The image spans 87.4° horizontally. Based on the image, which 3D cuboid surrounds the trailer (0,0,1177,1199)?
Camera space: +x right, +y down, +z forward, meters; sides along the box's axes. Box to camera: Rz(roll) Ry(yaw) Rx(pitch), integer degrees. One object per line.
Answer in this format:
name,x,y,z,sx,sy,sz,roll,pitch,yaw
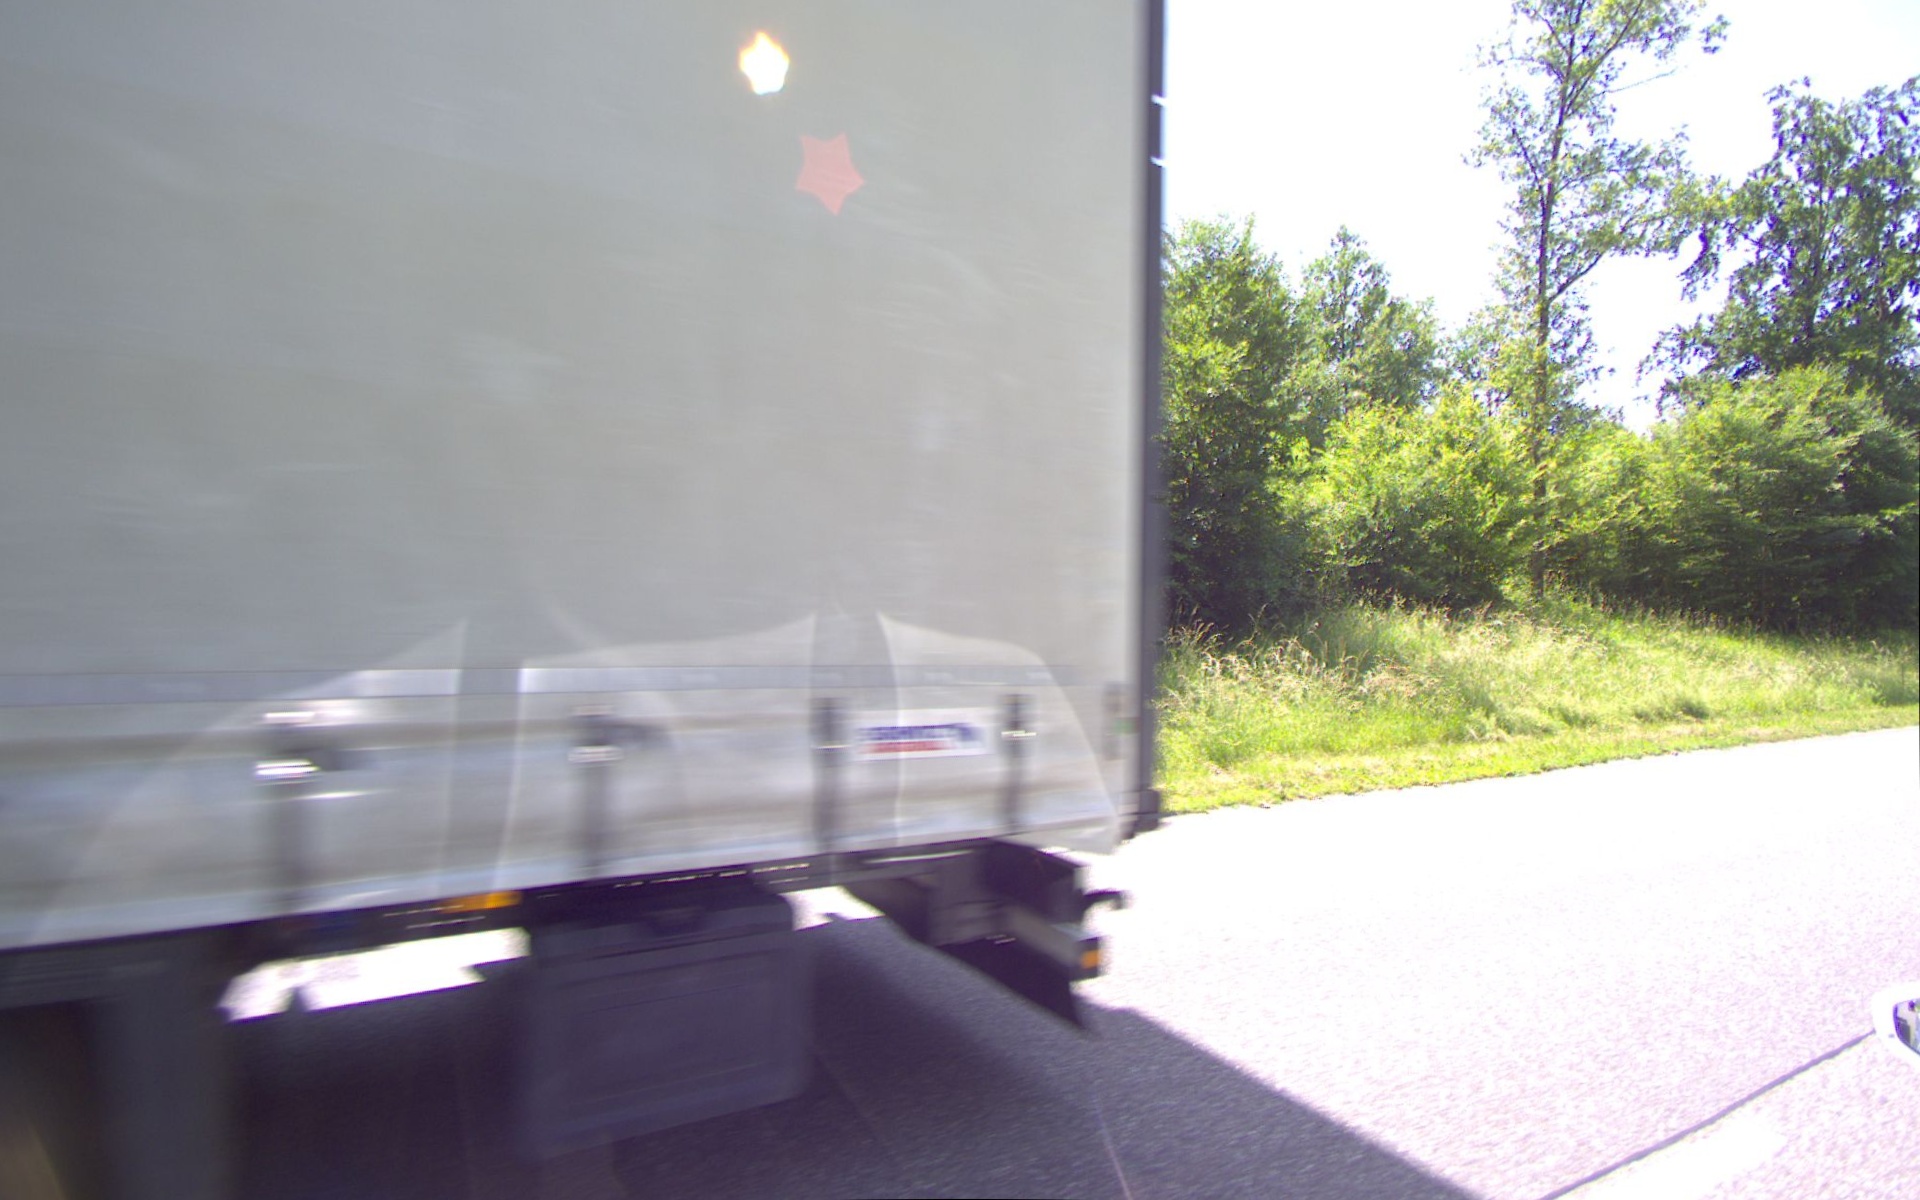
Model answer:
trailer,-5.883,-0.786,0.645,13.462,4.309,2.927,1,-1,-31
